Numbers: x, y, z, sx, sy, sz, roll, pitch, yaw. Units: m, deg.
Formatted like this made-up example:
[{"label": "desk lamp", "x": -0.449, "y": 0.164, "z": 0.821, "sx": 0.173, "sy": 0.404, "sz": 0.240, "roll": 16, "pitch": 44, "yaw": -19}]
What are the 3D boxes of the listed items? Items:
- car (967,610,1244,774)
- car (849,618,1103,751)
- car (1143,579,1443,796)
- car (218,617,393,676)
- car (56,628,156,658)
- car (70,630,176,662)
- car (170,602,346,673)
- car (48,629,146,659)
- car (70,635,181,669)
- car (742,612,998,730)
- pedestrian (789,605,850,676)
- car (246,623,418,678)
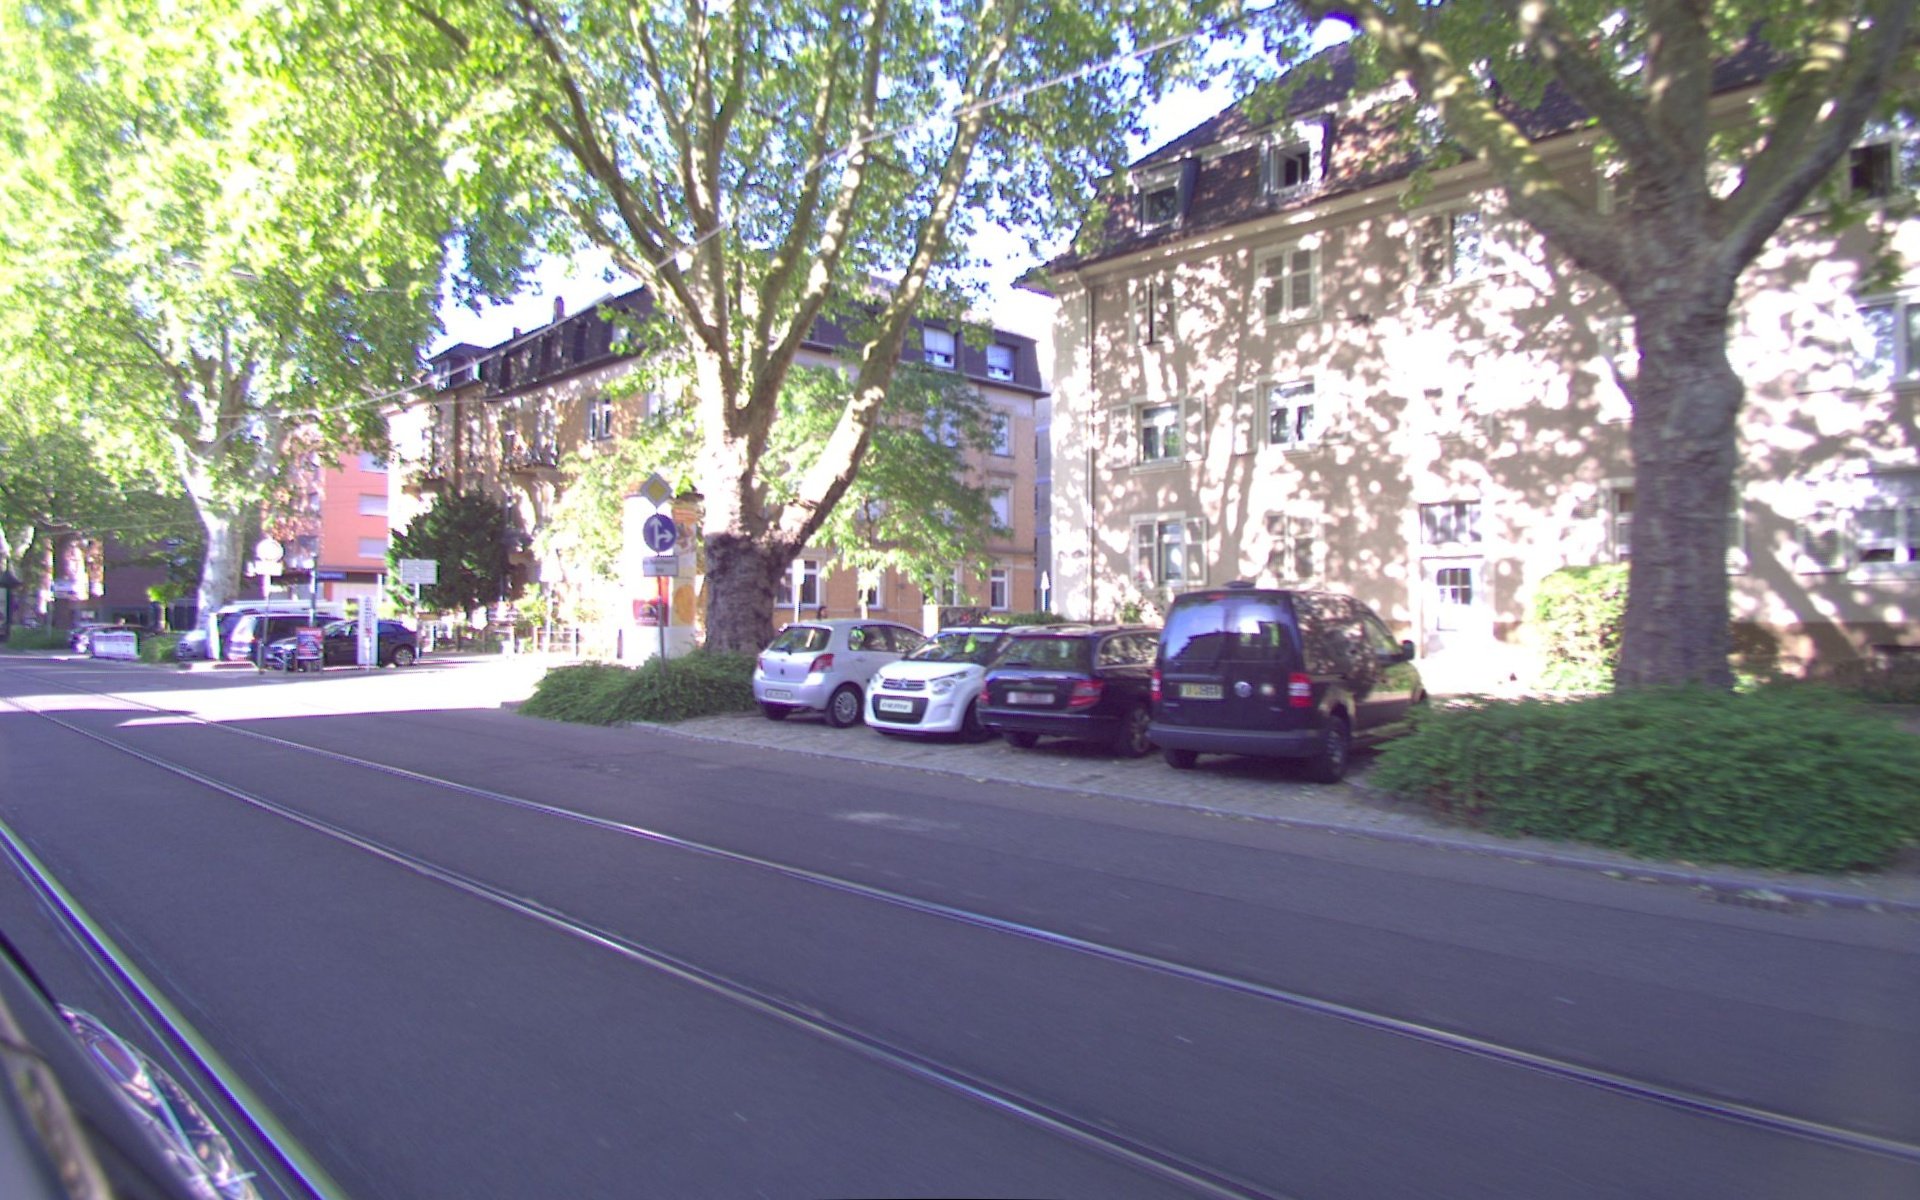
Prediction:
[{"label": "car", "x": 1.867, "y": 0.947, "z": 12.104, "sx": 1.796, "sy": 1.636, "sz": 3.649, "roll": -1, "pitch": -1, "yaw": 36}, {"label": "car", "x": 0.344, "y": 1.007, "z": 13.619, "sx": 1.698, "sy": 1.497, "sz": 3.651, "roll": -1, "pitch": -1, "yaw": 34}, {"label": "car", "x": 3.577, "y": 0.762, "z": 10.496, "sx": 1.703, "sy": 1.828, "sz": 3.644, "roll": -1, "pitch": -1, "yaw": 40}, {"label": "car", "x": -21.233, "y": 1.464, "z": 32.954, "sx": 2.026, "sy": 1.779, "sz": 4.408, "roll": -2, "pitch": -2, "yaw": 39}, {"label": "car", "x": -46.104, "y": 2.304, "z": 54.684, "sx": 1.809, "sy": 1.527, "sz": 3.917, "roll": -2, "pitch": -2, "yaw": 39}, {"label": "car", "x": -42.740, "y": 2.322, "z": 51.753, "sx": 1.809, "sy": 1.527, "sz": 3.917, "roll": -2, "pitch": -2, "yaw": 39}, {"label": "car", "x": -25.501, "y": 1.320, "z": 36.916, "sx": 2.026, "sy": 2.416, "sz": 4.956, "roll": -2, "pitch": -2, "yaw": 39}, {"label": "car", "x": -48.256, "y": 2.436, "z": 56.631, "sx": 1.809, "sy": 1.527, "sz": 3.917, "roll": -2, "pitch": -2, "yaw": 39}, {"label": "car", "x": -40.480, "y": 2.506, "z": 49.173, "sx": 1.809, "sy": 1.527, "sz": 3.917, "roll": -2, "pitch": -2, "yaw": 39}, {"label": "car", "x": -1.301, "y": 0.982, "z": 15.456, "sx": 3.638, "sy": 1.565, "sz": 1.705, "roll": 0, "pitch": -1, "yaw": -44}, {"label": "pedestrian", "x": -3.262, "y": 0.915, "z": 23.440, "sx": 1.076, "sy": 1.589, "sz": 1.029, "roll": 0, "pitch": 0, "yaw": -31}, {"label": "car", "x": -19.263, "y": 1.521, "z": 31.175, "sx": 1.924, "sy": 1.527, "sz": 4.118, "roll": -2, "pitch": -2, "yaw": 39}]
